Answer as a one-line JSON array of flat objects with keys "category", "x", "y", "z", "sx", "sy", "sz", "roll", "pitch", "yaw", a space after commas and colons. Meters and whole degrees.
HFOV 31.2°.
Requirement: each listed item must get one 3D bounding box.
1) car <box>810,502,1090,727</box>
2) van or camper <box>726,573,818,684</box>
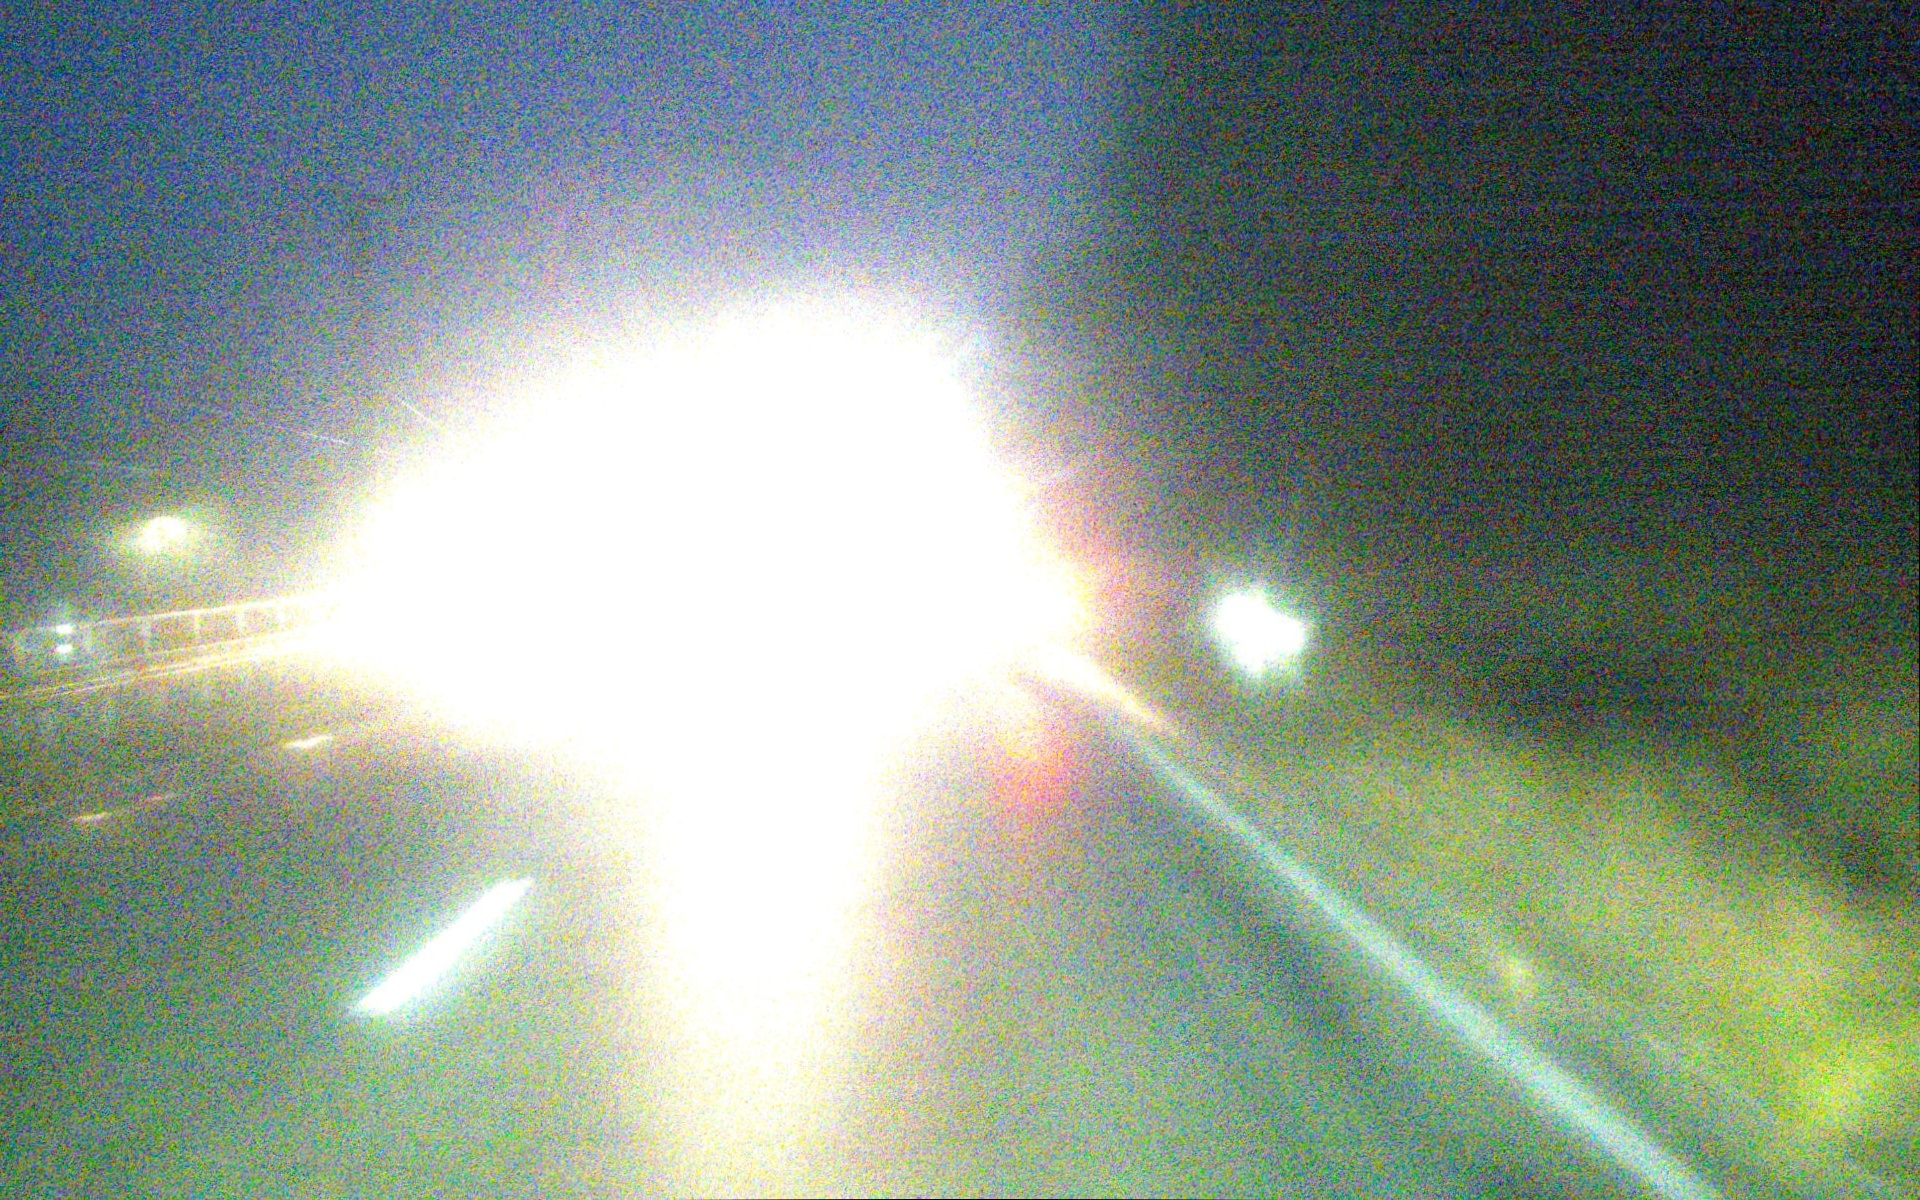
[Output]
[{"category": "car", "x": -0.093, "y": 0.140, "z": 33.059, "sx": 2.458, "sy": 1.952, "sz": 4.911, "roll": -1, "pitch": 0, "yaw": 0}, {"category": "van or camper", "x": -4.769, "y": 0.674, "z": 87.305, "sx": 2.123, "sy": 2.557, "sz": 5.785, "roll": -3, "pitch": 1, "yaw": -3}]
